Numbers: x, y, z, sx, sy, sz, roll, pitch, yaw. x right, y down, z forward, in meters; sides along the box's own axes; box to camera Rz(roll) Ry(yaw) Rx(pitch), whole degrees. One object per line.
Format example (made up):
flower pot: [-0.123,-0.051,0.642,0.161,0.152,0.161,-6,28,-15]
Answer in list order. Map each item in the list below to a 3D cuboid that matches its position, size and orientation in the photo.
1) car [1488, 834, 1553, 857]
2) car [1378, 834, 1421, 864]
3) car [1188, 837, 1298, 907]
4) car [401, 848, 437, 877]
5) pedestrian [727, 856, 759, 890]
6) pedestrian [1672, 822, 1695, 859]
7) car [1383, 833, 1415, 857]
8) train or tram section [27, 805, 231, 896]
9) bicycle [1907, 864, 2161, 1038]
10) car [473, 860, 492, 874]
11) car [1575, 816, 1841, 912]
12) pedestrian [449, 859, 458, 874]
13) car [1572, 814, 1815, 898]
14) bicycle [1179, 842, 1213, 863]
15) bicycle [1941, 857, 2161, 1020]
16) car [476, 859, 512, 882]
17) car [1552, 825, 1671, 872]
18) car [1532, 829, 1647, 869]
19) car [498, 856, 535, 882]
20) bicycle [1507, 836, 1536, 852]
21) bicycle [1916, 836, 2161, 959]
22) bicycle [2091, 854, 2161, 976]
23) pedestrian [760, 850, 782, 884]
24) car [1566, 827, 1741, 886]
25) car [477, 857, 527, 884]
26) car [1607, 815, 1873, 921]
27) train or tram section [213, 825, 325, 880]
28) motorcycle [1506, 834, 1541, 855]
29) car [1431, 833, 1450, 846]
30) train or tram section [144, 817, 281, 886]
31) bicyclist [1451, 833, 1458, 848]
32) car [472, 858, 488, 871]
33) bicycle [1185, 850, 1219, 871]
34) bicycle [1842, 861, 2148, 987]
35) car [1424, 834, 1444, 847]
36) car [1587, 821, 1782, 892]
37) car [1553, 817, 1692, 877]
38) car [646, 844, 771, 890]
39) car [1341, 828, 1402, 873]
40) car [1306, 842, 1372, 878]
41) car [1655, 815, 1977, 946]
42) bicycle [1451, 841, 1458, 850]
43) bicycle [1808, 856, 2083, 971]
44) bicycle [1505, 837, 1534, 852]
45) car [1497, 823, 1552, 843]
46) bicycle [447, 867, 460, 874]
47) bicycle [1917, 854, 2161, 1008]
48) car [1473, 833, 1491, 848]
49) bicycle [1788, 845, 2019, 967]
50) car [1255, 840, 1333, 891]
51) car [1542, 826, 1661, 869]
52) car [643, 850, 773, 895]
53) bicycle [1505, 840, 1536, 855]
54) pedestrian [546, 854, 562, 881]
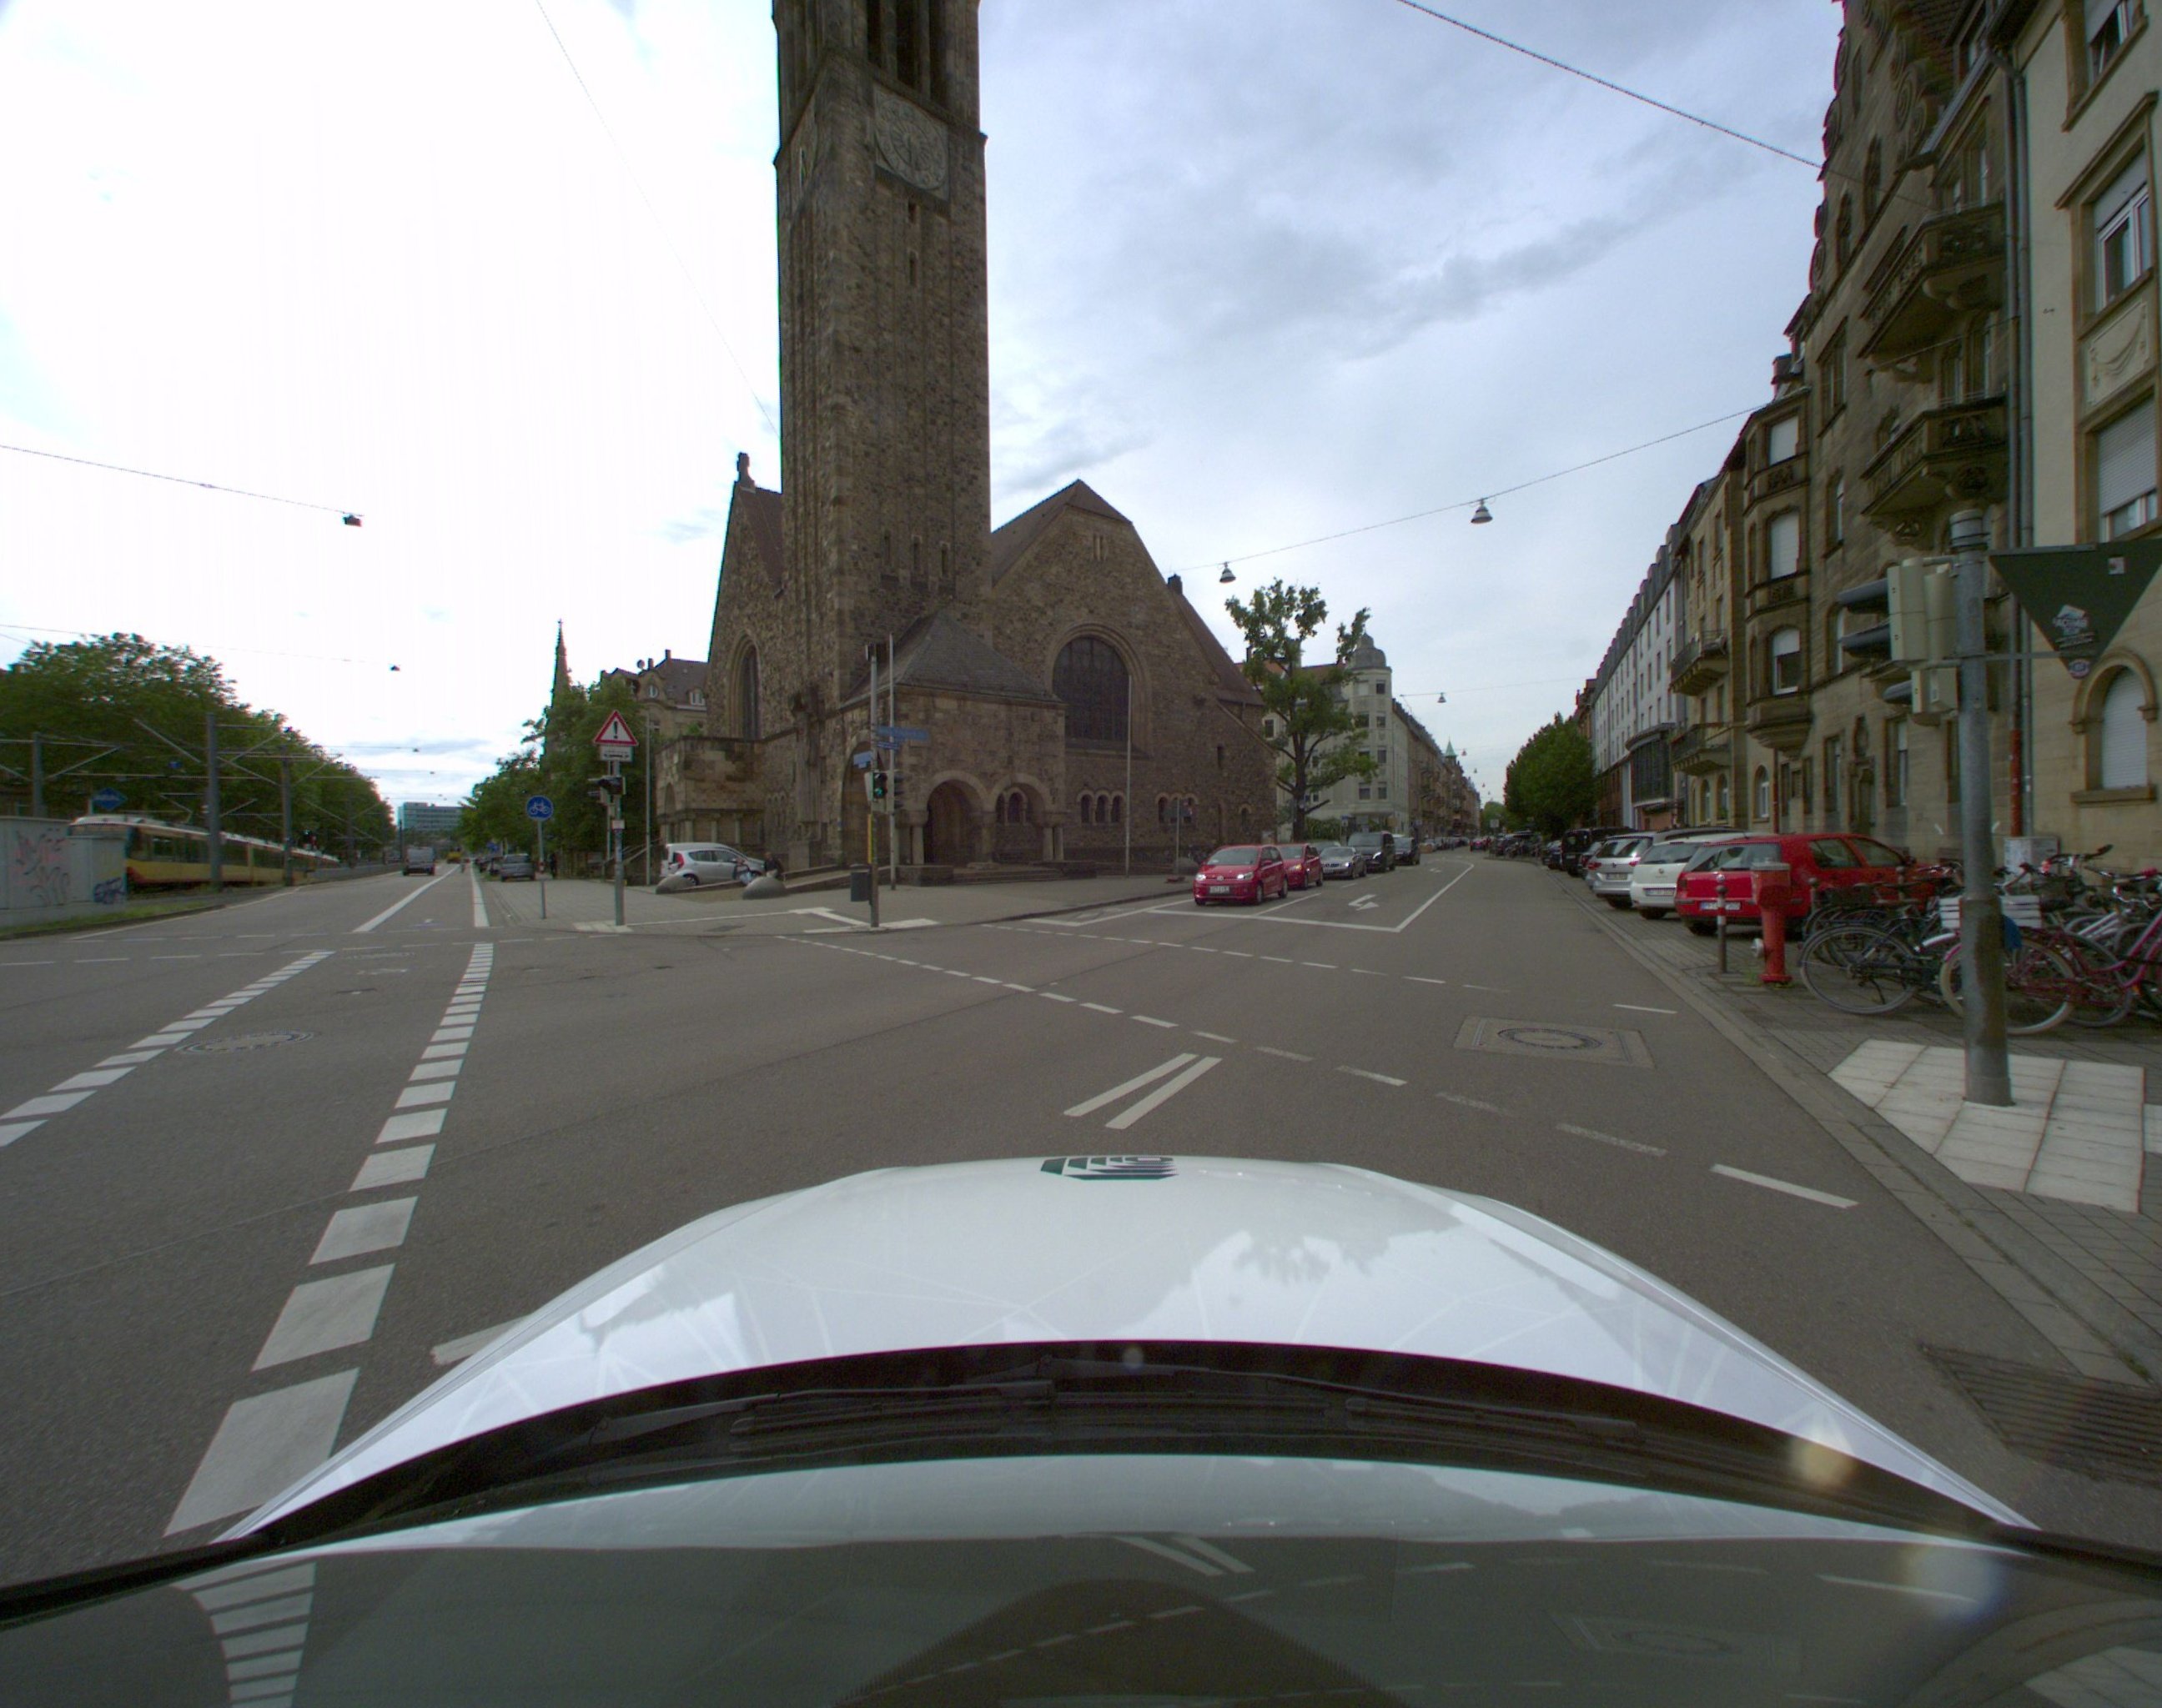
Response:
car: [35.632,-0.672,66.087,4.267,1.578,1.860,-3,0,-5]
car: [18.983,-0.317,48.375,1.827,1.683,4.576,0,1,28]
car: [4.271,0.402,21.001,1.633,1.528,3.918,-3,1,28]
car: [-61.361,0.763,75.535,2.532,2.606,5.761,0,0,-39]
pedestrian: [-12.160,0.665,29.288,0.742,1.191,1.476,0,0,-37]
pedestrian: [25.633,-0.573,34.663,0.561,1.529,0.551,0,0,-14]
car: [26.826,-0.799,68.618,1.826,1.939,4.576,0,1,30]
train or tram section: [-50.256,-0.151,43.758,3.670,4.093,14.874,0,0,-36]
bicycle: [6.991,0.665,5.703,1.552,1.127,0.479,-4,-2,27]
car: [-83.093,1.797,113.094,2.009,1.881,3.955,-2,1,-37]
car: [12.958,0.193,16.987,4.206,1.682,1.912,-3,-1,-6]
pedestrian: [-62.859,1.203,81.578,0.643,1.474,0.658,-1,1,43]
car: [14.835,0.051,19.847,4.734,1.685,1.931,-3,-1,-9]
bicycle: [6.255,-0.066,44.402,1.762,1.125,0.571,0,1,41]
bicycle: [7.592,0.615,6.026,1.552,1.127,0.479,-4,-2,27]
car: [-43.389,1.157,60.183,2.009,1.585,3.955,-2,1,-37]
car: [21.789,-0.217,33.519,3.990,1.601,1.758,-4,1,-12]
car: [23.781,-0.243,38.165,4.228,1.478,1.686,-4,1,3]
car: [-33.674,0.880,48.521,1.716,1.459,3.847,0,0,-37]
bicycle: [33.796,-0.778,62.495,1.866,1.141,0.615,-2,-1,25]
bicycle: [9.927,0.460,8.361,1.762,1.172,0.498,-4,-2,27]
bicycle: [10.076,0.492,6.955,1.717,1.039,0.479,-4,-2,27]
pedestrian: [-11.366,0.461,29.872,0.739,1.228,1.055,0,0,-22]
car: [17.650,0.067,25.188,4.452,1.552,1.845,-2,0,-11]
car: [-40.025,1.083,56.238,2.221,1.745,4.973,-2,1,-42]
car: [11.697,0.236,14.548,3.581,1.508,1.841,-4,-1,-14]
train or tram section: [-68.991,-0.094,69.824,3.644,4.093,19.730,0,0,-36]
motorcycle: [31.199,-0.651,57.422,2.114,1.429,0.775,-2,-1,25]
car: [47.611,-1.929,107.808,1.926,1.617,3.967,0,1,28]
train or tram section: [-58.877,-0.130,55.795,3.597,4.093,14.874,0,0,-36]
bicyclist: [46.565,-1.696,101.472,0.774,1.866,0.719,-1,1,30]
car: [-94.294,1.660,127.739,2.010,2.013,3.954,0,0,-38]
bicycle: [6.689,0.330,44.935,1.761,1.130,0.665,0,1,41]
bicycle: [8.114,0.636,7.332,1.717,1.039,0.479,-4,-2,27]
car: [44.326,-1.704,102.247,1.926,1.617,3.967,0,1,28]
car: [16.669,0.059,22.546,4.453,1.574,1.741,-4,0,-11]
car: [20.379,-0.268,30.695,4.274,1.906,1.871,-4,1,-13]
car: [-15.887,0.523,34.856,4.647,1.881,1.644,0,0,-38]
car: [13.689,-0.231,38.226,1.894,1.954,5.316,0,1,28]
car: [10.355,0.206,32.481,1.688,1.286,4.067,-3,-1,29]
car: [10.598,0.317,11.796,3.833,1.561,1.784,-3,0,-18]
bicycle: [46.458,-1.032,101.259,0.562,1.087,1.999,-1,1,29]
bicycle: [8.336,0.591,7.952,1.717,1.039,0.479,-4,-2,27]
bicycle: [32.599,-0.669,60.548,1.866,1.043,0.615,-2,-1,25]
car: [52.471,-2.497,96.335,5.600,2.127,1.946,-2,0,-6]
bicycle: [-62.761,1.688,81.473,2.350,0.655,0.616,-1,-1,42]
bicycle: [7.860,0.608,6.473,1.552,1.127,0.479,-4,-2,27]
car: [48.287,-1.596,98.045,1.975,1.680,4.024,0,0,27]
bicycle: [8.467,0.551,8.466,1.552,1.172,0.479,-4,-2,27]
car: [6.928,0.340,26.219,1.587,1.457,3.741,-3,-1,27]
car: [22.929,-0.286,35.998,3.976,1.533,1.931,-4,1,-1]
car: [-14.448,0.671,31.667,4.383,1.636,1.644,0,0,-38]
bicycle: [31.974,-0.450,59.220,1.911,1.043,0.615,-2,-1,25]
pedestrian: [-32.235,0.800,49.806,0.781,1.647,0.790,0,0,-31]
